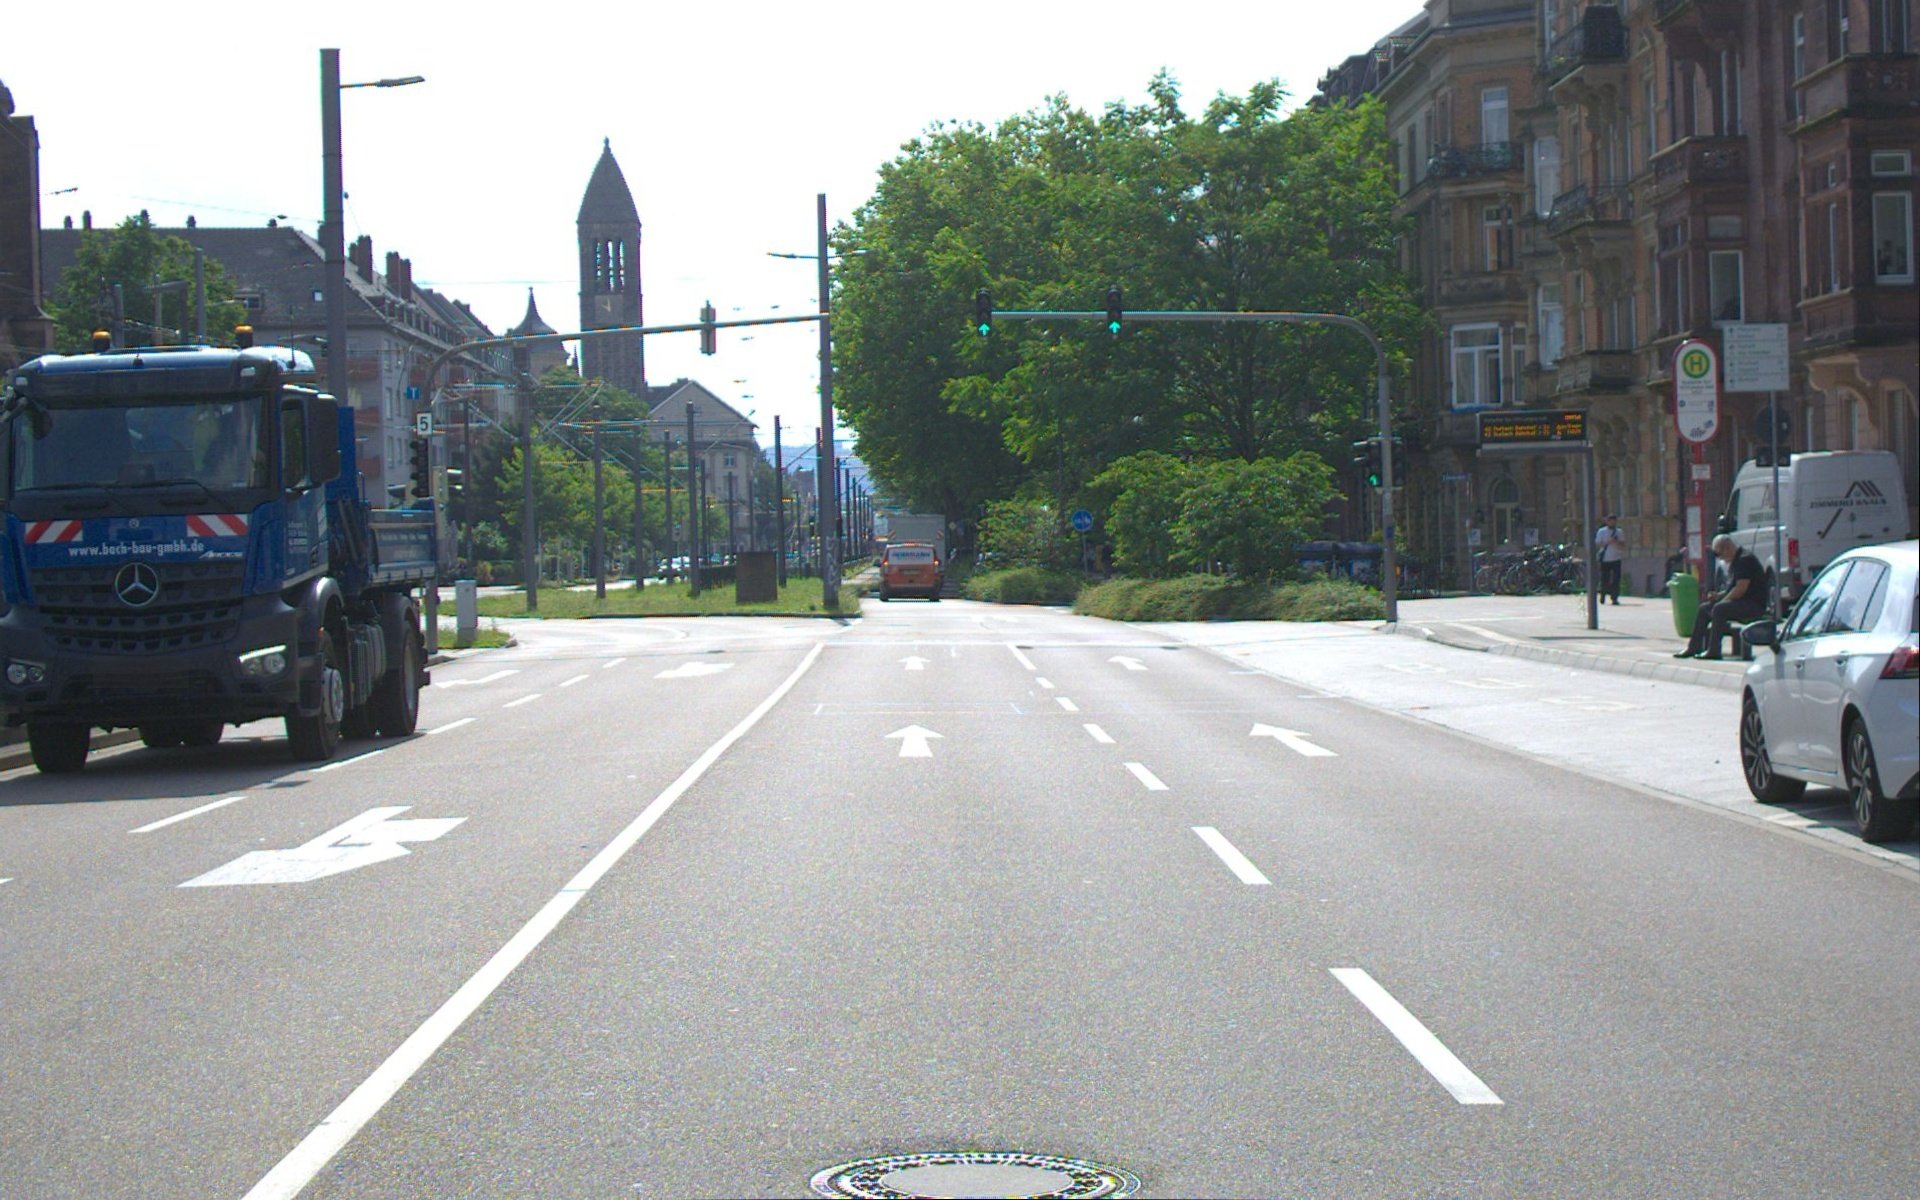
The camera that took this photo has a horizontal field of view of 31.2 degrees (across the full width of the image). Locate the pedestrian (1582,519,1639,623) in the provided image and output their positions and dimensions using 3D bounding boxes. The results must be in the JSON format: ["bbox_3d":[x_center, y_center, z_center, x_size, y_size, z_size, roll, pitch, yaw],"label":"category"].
[{"bbox_3d":[12.771,-0.564,67.530,0.886,2.007,0.996,1,0,0],"label":"pedestrian"}]

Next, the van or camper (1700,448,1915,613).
[{"bbox_3d":[13.502,-1.098,55.116,1.993,2.465,5.565,-1,1,0],"label":"van or camper"}]

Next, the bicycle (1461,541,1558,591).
[{"bbox_3d":[13.164,-0.816,82.345,2.189,1.177,0.684,-1,1,-5],"label":"bicycle"}]

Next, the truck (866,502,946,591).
[{"bbox_3d":[-2.204,-2.188,142.734,3.170,3.275,7.295,0,-2,0],"label":"truck"}]

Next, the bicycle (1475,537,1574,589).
[{"bbox_3d":[13.283,-0.878,80.934,2.189,1.177,0.684,-1,1,-5],"label":"bicycle"}]

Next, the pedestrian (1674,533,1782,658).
[{"bbox_3d":[8.220,-0.050,36.799,0.742,1.311,0.821,1,1,-39],"label":"pedestrian"}]

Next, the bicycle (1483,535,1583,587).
[{"bbox_3d":[13.361,-0.909,80.228,2.189,1.177,0.684,-1,1,-5],"label":"bicycle"}]

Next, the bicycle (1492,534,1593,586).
[{"bbox_3d":[13.474,-0.936,79.580,2.189,1.177,0.684,-1,1,-5],"label":"bicycle"}]

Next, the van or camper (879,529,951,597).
[{"bbox_3d":[-1.502,-1.182,112.302,2.008,1.908,4.523,1,-3,-5],"label":"van or camper"}]

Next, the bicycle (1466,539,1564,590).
[{"bbox_3d":[13.193,-0.847,81.671,2.189,1.177,0.684,-1,1,-5],"label":"bicycle"}]

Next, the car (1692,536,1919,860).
[{"bbox_3d":[5.198,0.391,17.951,1.791,1.432,4.343,-4,0,1],"label":"car"}]

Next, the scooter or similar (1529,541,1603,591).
[{"bbox_3d":[13.438,-0.761,76.269,1.565,1.094,0.451,-1,1,3],"label":"scooter or similar"}]

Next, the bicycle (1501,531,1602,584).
[{"bbox_3d":[13.555,-0.969,78.815,2.189,1.177,0.684,-1,1,-5],"label":"bicycle"}]

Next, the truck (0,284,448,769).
[{"bbox_3d":[-6.250,-0.616,29.825,2.463,3.636,7.450,-1,1,0],"label":"truck"}]
